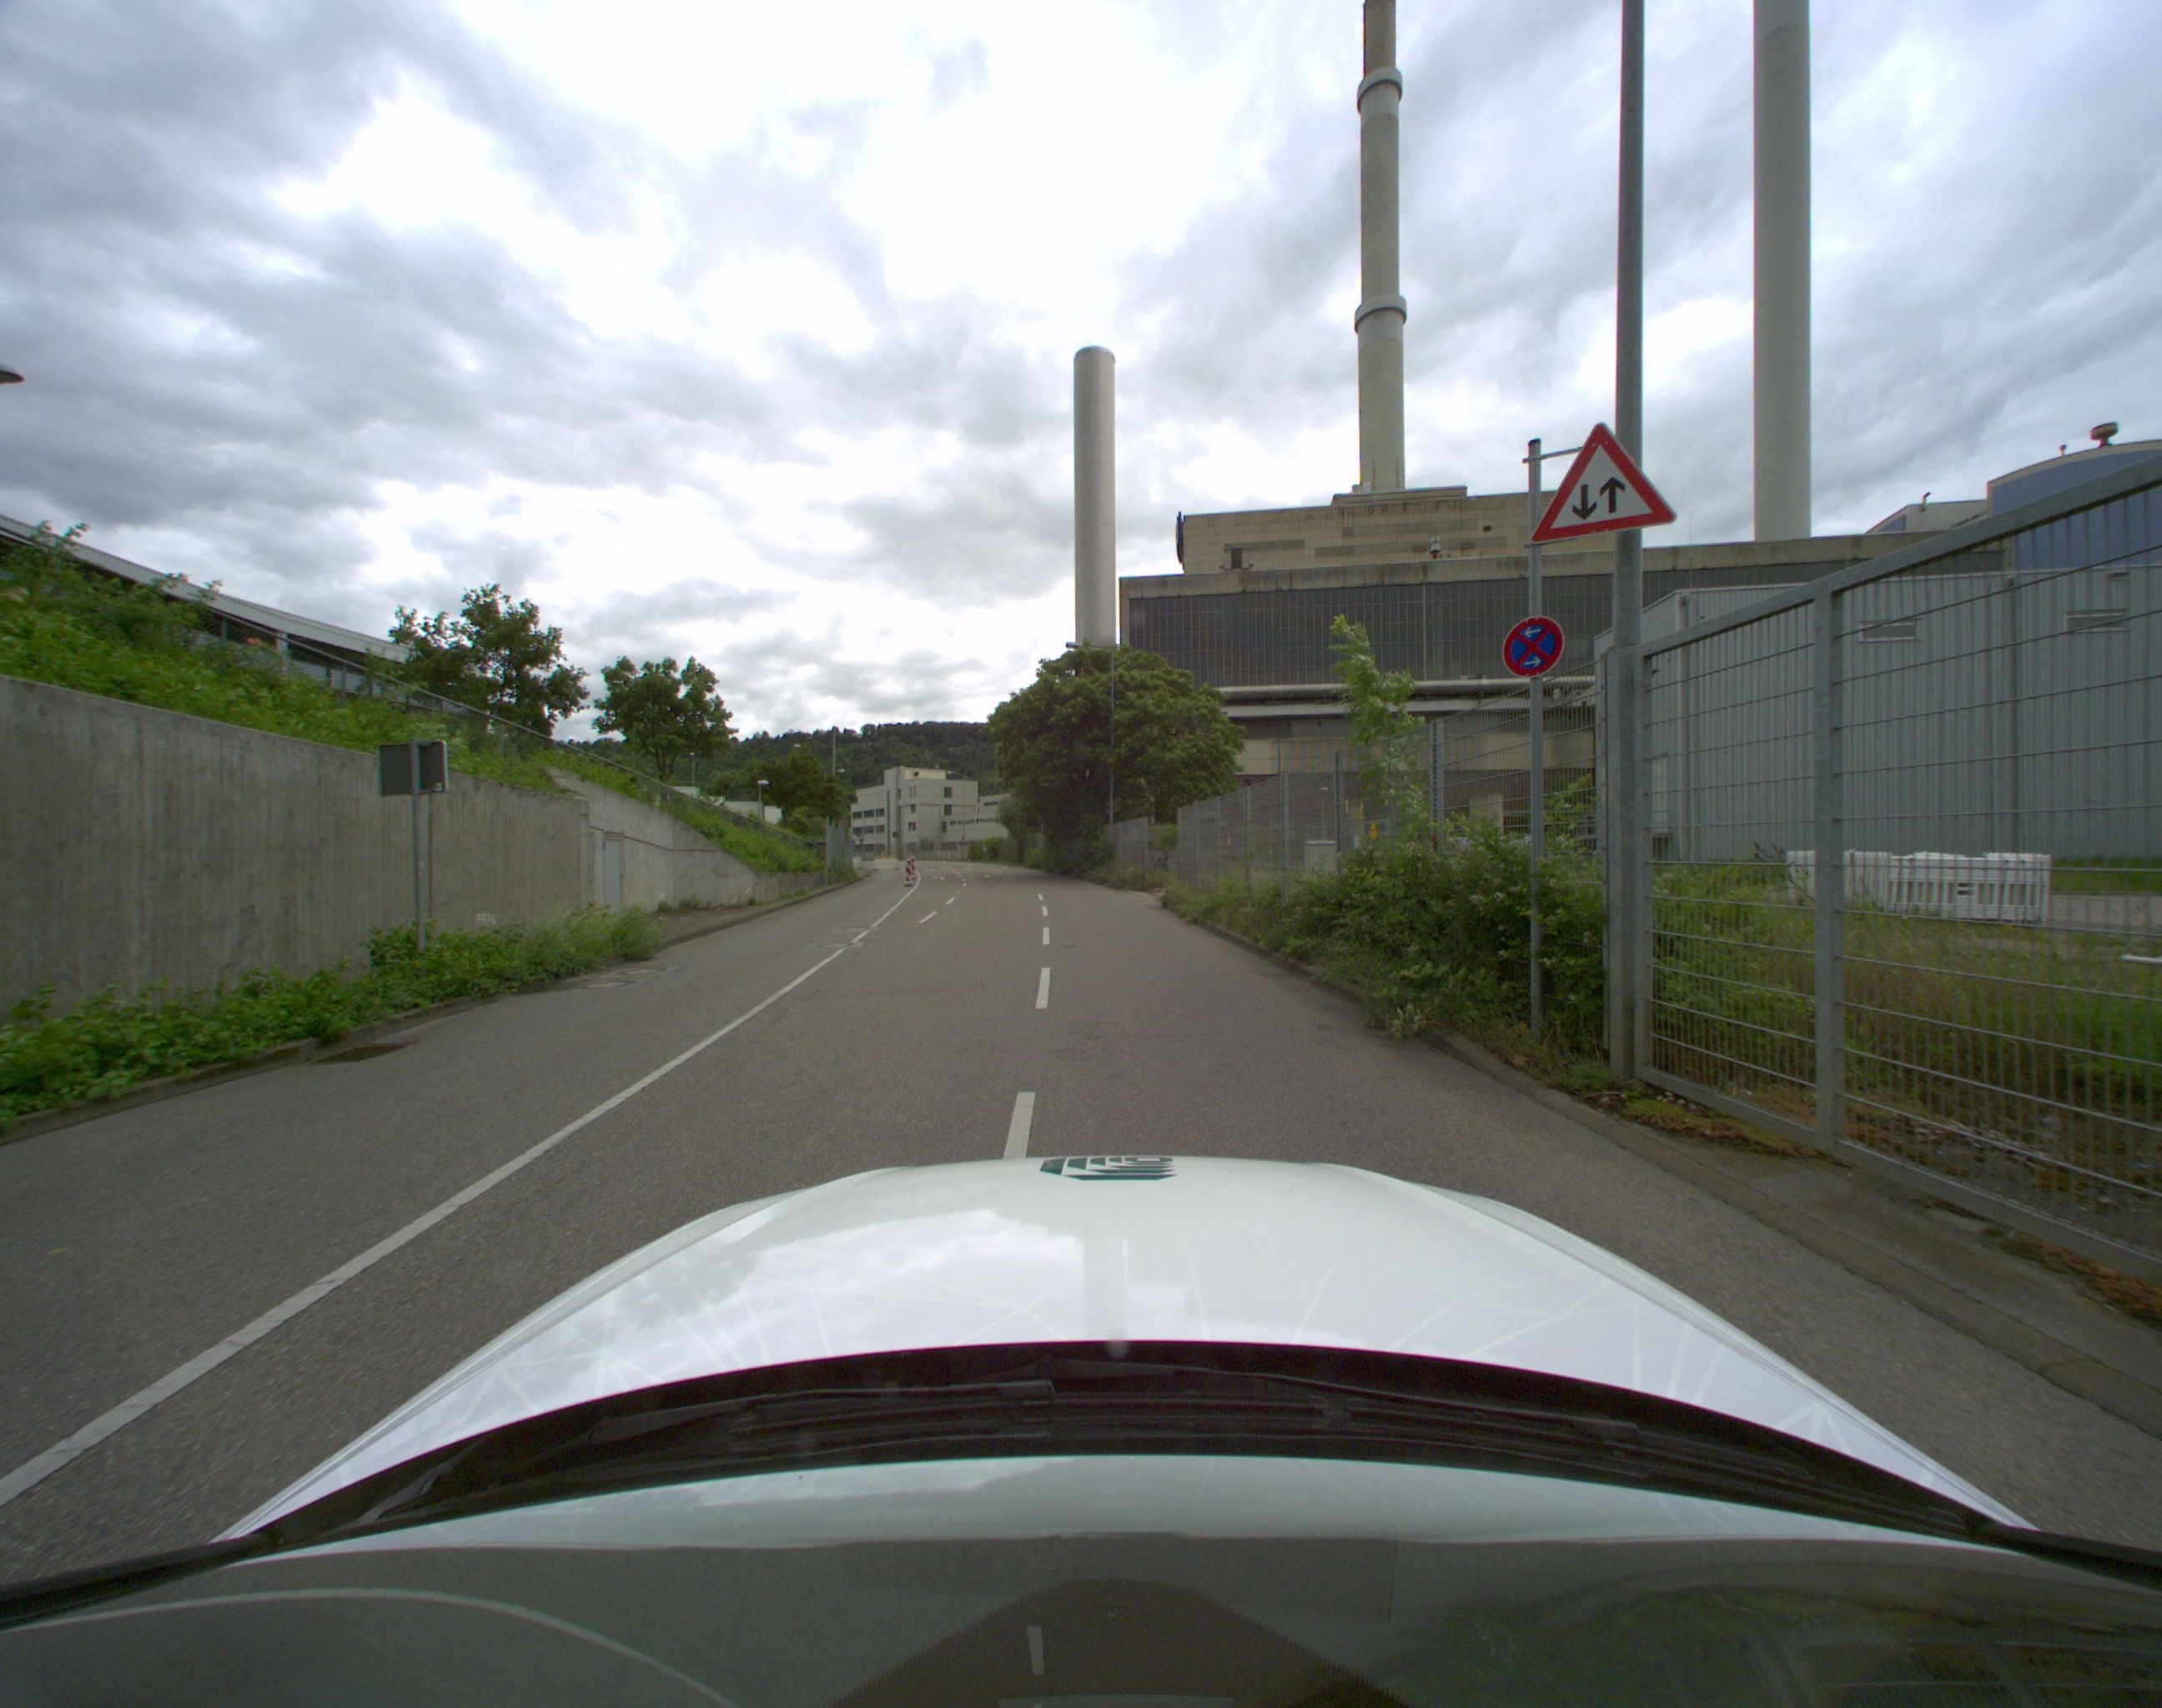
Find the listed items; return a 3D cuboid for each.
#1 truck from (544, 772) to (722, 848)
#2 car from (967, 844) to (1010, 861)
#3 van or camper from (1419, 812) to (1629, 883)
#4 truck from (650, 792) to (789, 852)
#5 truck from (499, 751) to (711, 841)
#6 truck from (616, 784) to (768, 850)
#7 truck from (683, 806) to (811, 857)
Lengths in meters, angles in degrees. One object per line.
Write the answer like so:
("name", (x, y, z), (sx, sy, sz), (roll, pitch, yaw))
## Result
("truck", (-23.704, -2.169, 43.359), (7.904, 3.538, 3.017), (0, -2, -39))
("car", (-12.706, -0.273, 111.470), (6.090, 2.263, 2.013), (0, -1, 36))
("van or camper", (30.025, -0.374, 55.550), (11.811, 4.531, 5.465), (0, -1, -11))
("truck", (-23.687, -1.943, 53.533), (7.901, 3.539, 3.018), (0, -2, -37))
("truck", (-21.946, -2.480, 37.860), (8.194, 3.538, 3.017), (0, -2, -39))
("truck", (-23.233, -2.061, 48.771), (7.896, 3.539, 3.020), (0, -2, -34))
("truck", (-27.722, -1.828, 68.063), (9.655, 3.991, 3.031), (0, -2, -21))
